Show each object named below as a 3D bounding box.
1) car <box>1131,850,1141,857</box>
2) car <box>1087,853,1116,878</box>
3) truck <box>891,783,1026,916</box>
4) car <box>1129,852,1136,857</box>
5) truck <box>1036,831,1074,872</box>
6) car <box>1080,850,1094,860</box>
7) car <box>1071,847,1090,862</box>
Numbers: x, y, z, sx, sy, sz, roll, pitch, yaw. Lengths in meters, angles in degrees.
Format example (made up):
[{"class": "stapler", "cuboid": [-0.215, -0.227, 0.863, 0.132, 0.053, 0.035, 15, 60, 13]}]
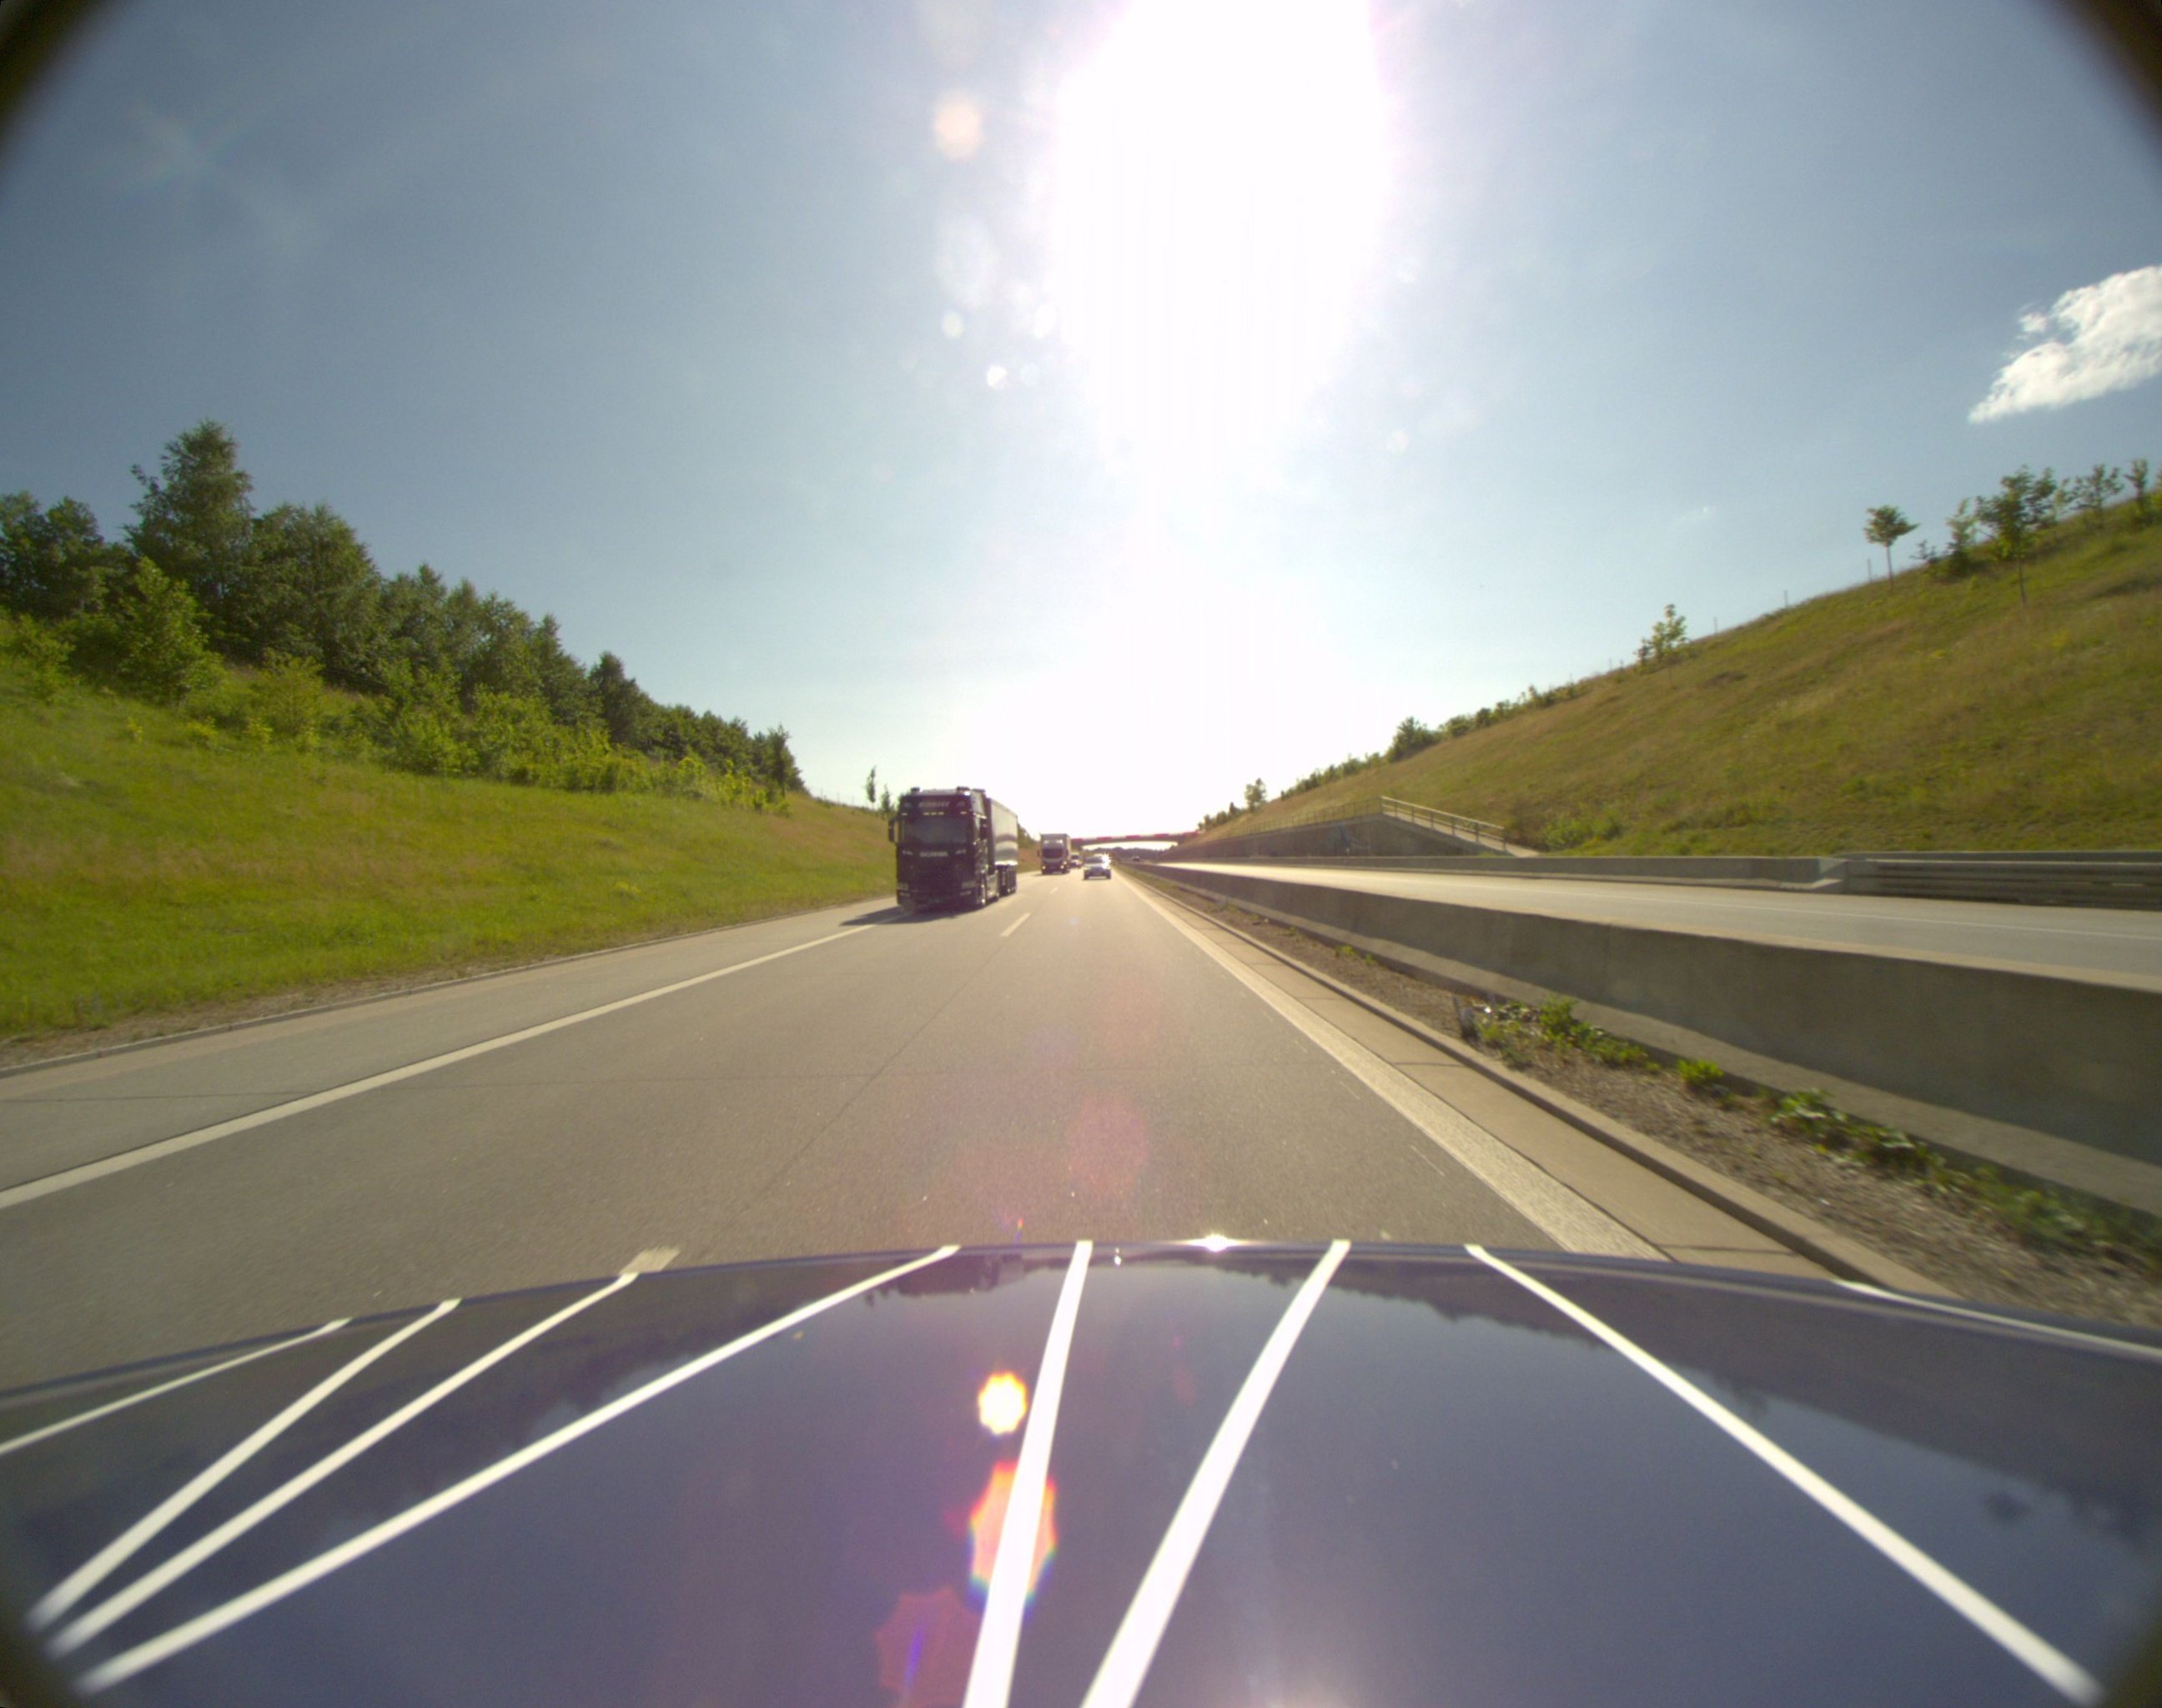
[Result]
[{"class": "car", "cuboid": [12.250, -0.021, 169.469, 1.858, 1.453, 4.727, -3, 1, -1]}, {"class": "car", "cuboid": [1.403, 0.771, 51.896, 1.795, 1.501, 3.635, -4, 1, 1]}, {"class": "truck", "cuboid": [-4.063, -0.204, 28.866, 2.623, 3.795, 13.402, -2, 1, 1]}, {"class": "car", "cuboid": [14.418, 0.130, 212.000, 1.858, 1.453, 4.728, -3, 1, 4]}, {"class": "truck", "cuboid": [-2.507, -0.317, 78.139, 3.025, 3.795, 13.402, -2, 1, 1]}, {"class": "car", "cuboid": [1.313, 0.239, 171.265, 2.816, 2.143, 5.946, -2, 1, -1]}, {"class": "car", "cuboid": [-0.129, 0.026, 115.720, 2.816, 2.143, 5.946, -2, 1, -1]}]
